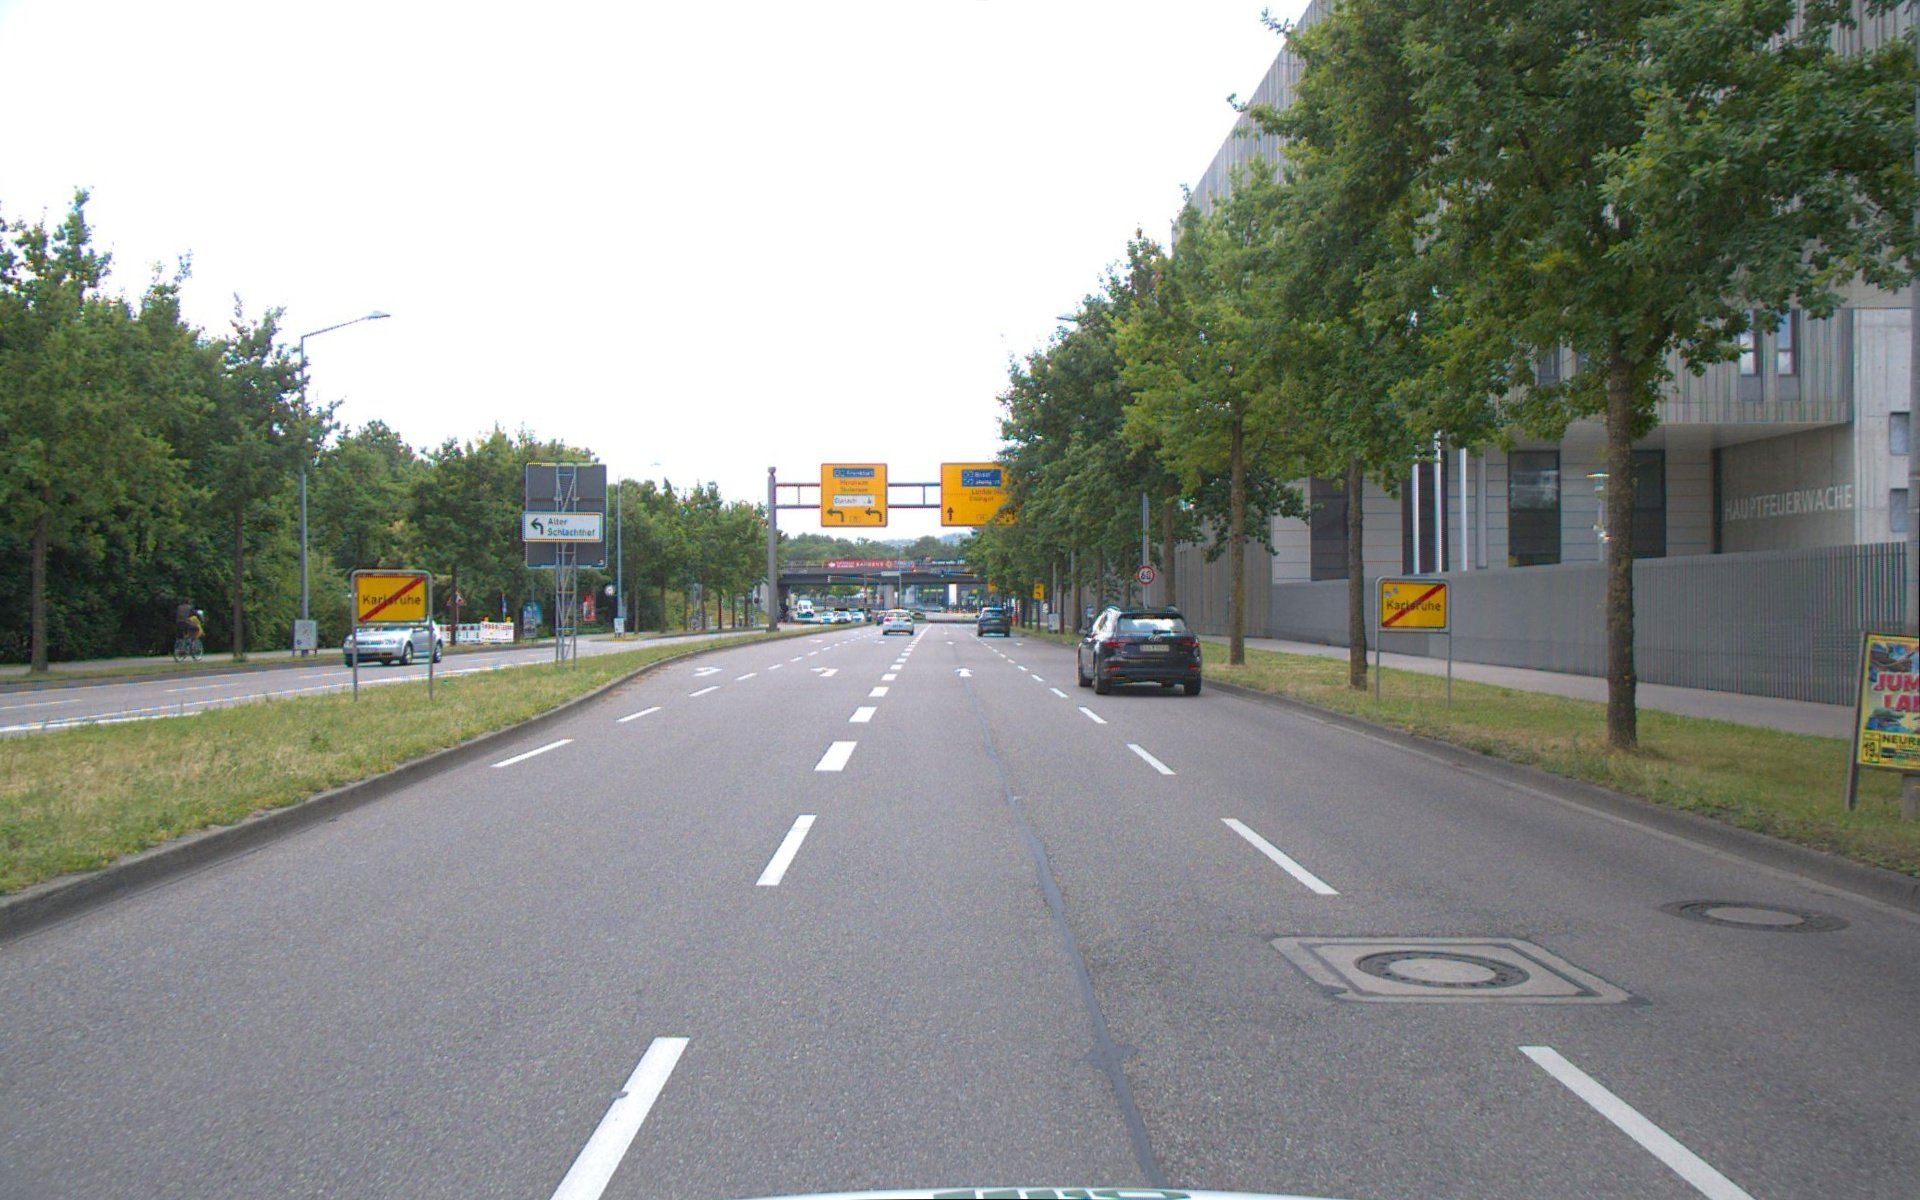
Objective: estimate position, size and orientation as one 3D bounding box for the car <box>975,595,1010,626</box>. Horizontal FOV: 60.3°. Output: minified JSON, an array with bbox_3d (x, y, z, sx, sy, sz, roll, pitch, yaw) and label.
[{"bbox_3d":[1.900,0.576,95.425,1.952,1.654,4.310,-1,1,1],"label":"car"}]

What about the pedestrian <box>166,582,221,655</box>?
[{"bbox_3d":[-21.762,0.516,46.993,0.950,2.049,1.249,-1,0,0],"label":"pedestrian"}]

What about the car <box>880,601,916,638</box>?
[{"bbox_3d":[-3.606,1.127,95.520,1.954,2.049,3.997,1,0,-3],"label":"car"}]

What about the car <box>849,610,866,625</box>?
[{"bbox_3d":[-13.129,2.259,211.785,1.953,1.747,3.999,1,-1,-1],"label":"car"}]

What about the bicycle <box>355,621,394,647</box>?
[{"bbox_3d":[-25.949,1.503,73.251,0.876,1.078,2.329,0,-1,-40],"label":"bicycle"}]

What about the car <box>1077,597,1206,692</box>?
[{"bbox_3d":[3.045,0.722,28.434,1.650,1.489,3.998,1,0,-2],"label":"car"}]

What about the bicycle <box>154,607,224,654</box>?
[{"bbox_3d":[-21.817,0.841,46.866,0.791,1.248,2.502,-1,0,0],"label":"bicycle"}]

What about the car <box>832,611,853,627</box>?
[{"bbox_3d":[-12.961,2.090,182.542,1.952,1.646,4.000,-1,0,0],"label":"car"}]

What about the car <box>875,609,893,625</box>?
[{"bbox_3d":[-7.581,1.657,163.962,1.739,1.489,3.997,1,0,-3],"label":"car"}]

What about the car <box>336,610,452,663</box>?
[{"bbox_3d":[-15.867,1.007,46.585,1.606,1.352,4.383,-1,0,2],"label":"car"}]

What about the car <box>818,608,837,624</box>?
[{"bbox_3d":[-15.666,1.951,195.724,1.953,1.814,3.998,1,-1,-2],"label":"car"}]
